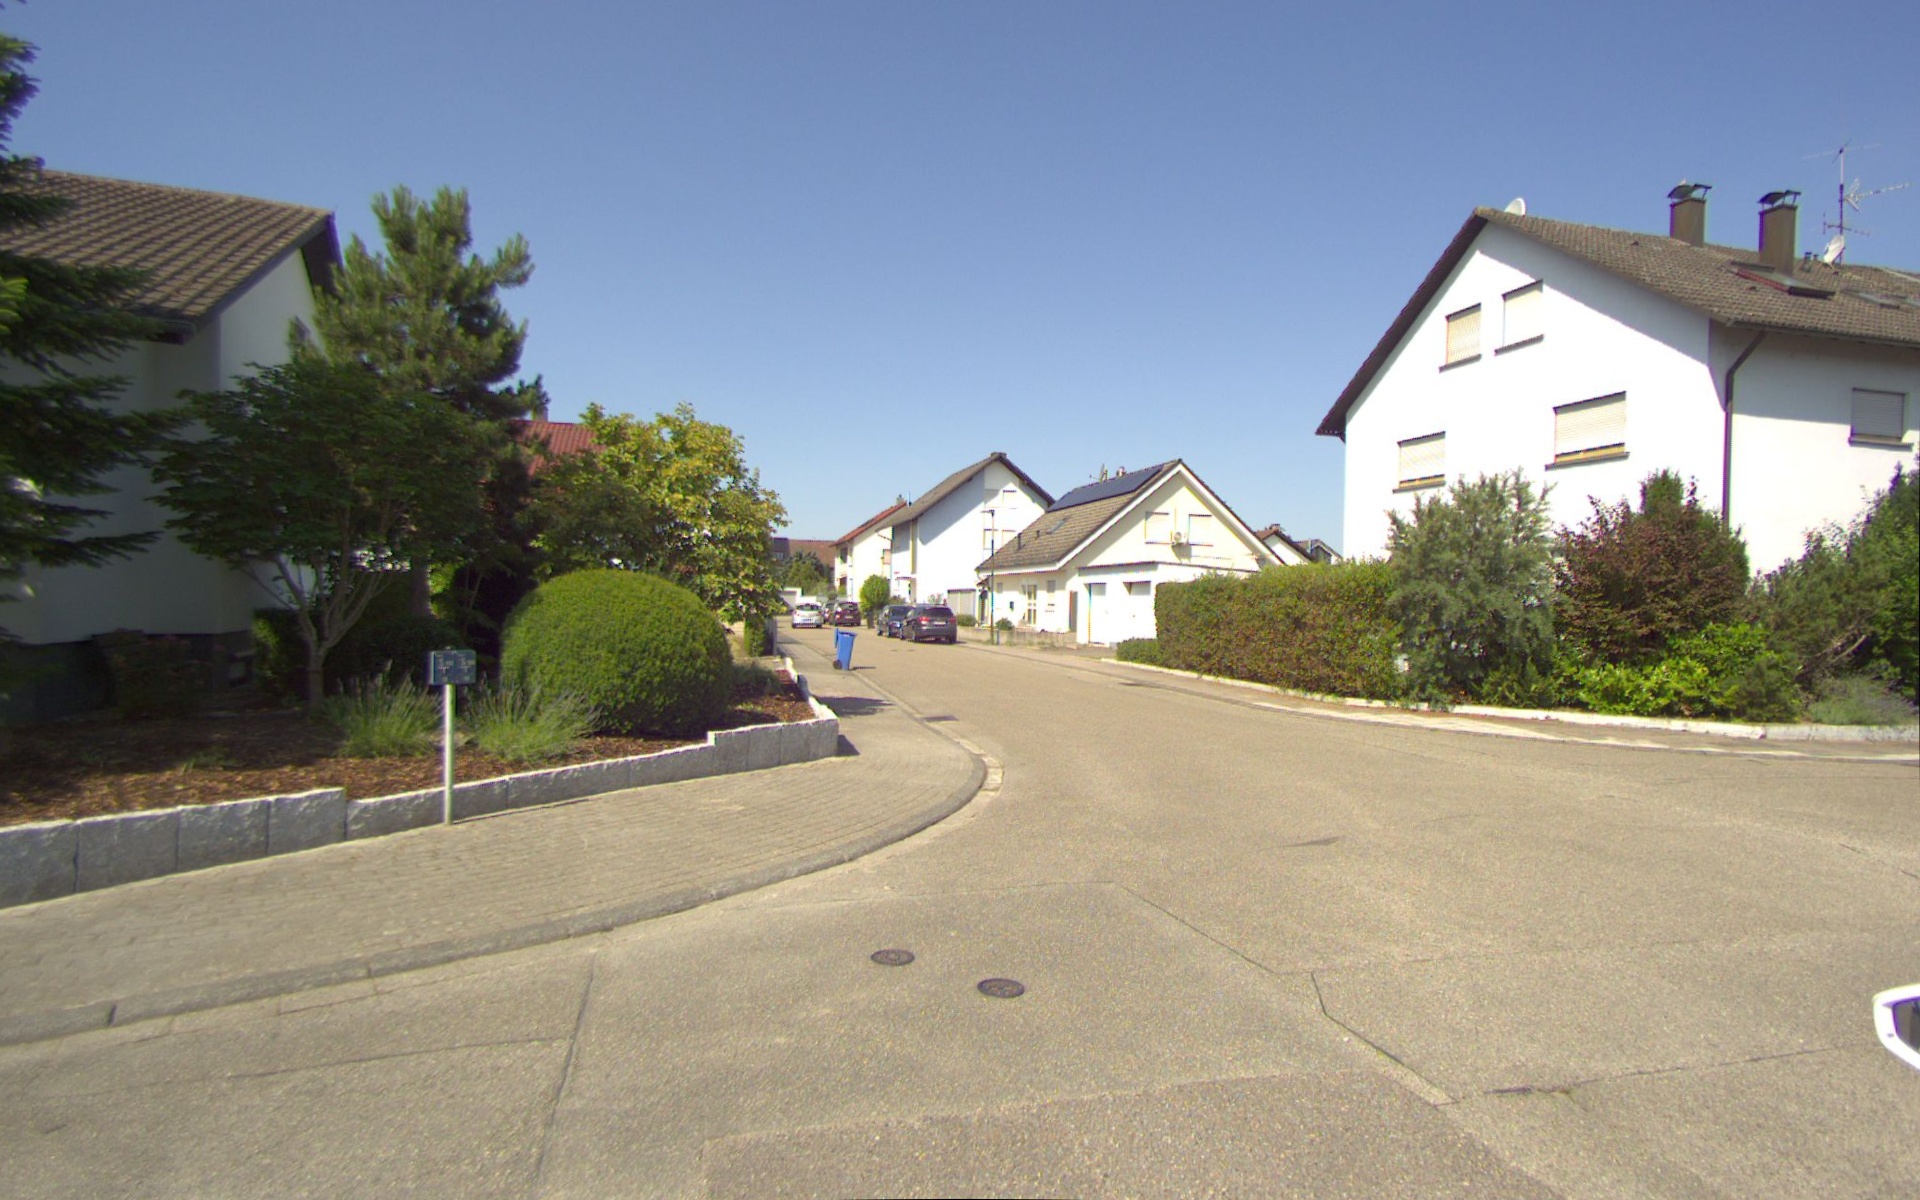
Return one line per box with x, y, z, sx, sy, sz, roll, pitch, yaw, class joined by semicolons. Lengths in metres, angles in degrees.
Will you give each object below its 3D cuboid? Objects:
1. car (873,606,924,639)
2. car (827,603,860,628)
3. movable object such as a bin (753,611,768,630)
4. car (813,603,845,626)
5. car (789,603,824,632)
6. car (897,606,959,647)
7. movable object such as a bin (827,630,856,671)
-2.922;1.018;46.985;1.693;1.458;4.491;1;0;-13;car
-7.769;1.007;66.850;1.623;1.602;4.135;1;0;-14;car
-11.539;1.194;58.192;0.807;1.078;0.609;1;0;-16;movable object such as a bin
-9.409;1.034;71.787;1.624;1.566;4.033;1;0;-16;car
-8.990;0.985;58.591;1.623;1.602;3.798;1;0;-14;car
-1.381;1.051;41.258;1.620;1.498;3.987;3;0;-15;car
-2.782;1.181;23.531;0.575;0.928;0.596;2;0;-14;movable object such as a bin
